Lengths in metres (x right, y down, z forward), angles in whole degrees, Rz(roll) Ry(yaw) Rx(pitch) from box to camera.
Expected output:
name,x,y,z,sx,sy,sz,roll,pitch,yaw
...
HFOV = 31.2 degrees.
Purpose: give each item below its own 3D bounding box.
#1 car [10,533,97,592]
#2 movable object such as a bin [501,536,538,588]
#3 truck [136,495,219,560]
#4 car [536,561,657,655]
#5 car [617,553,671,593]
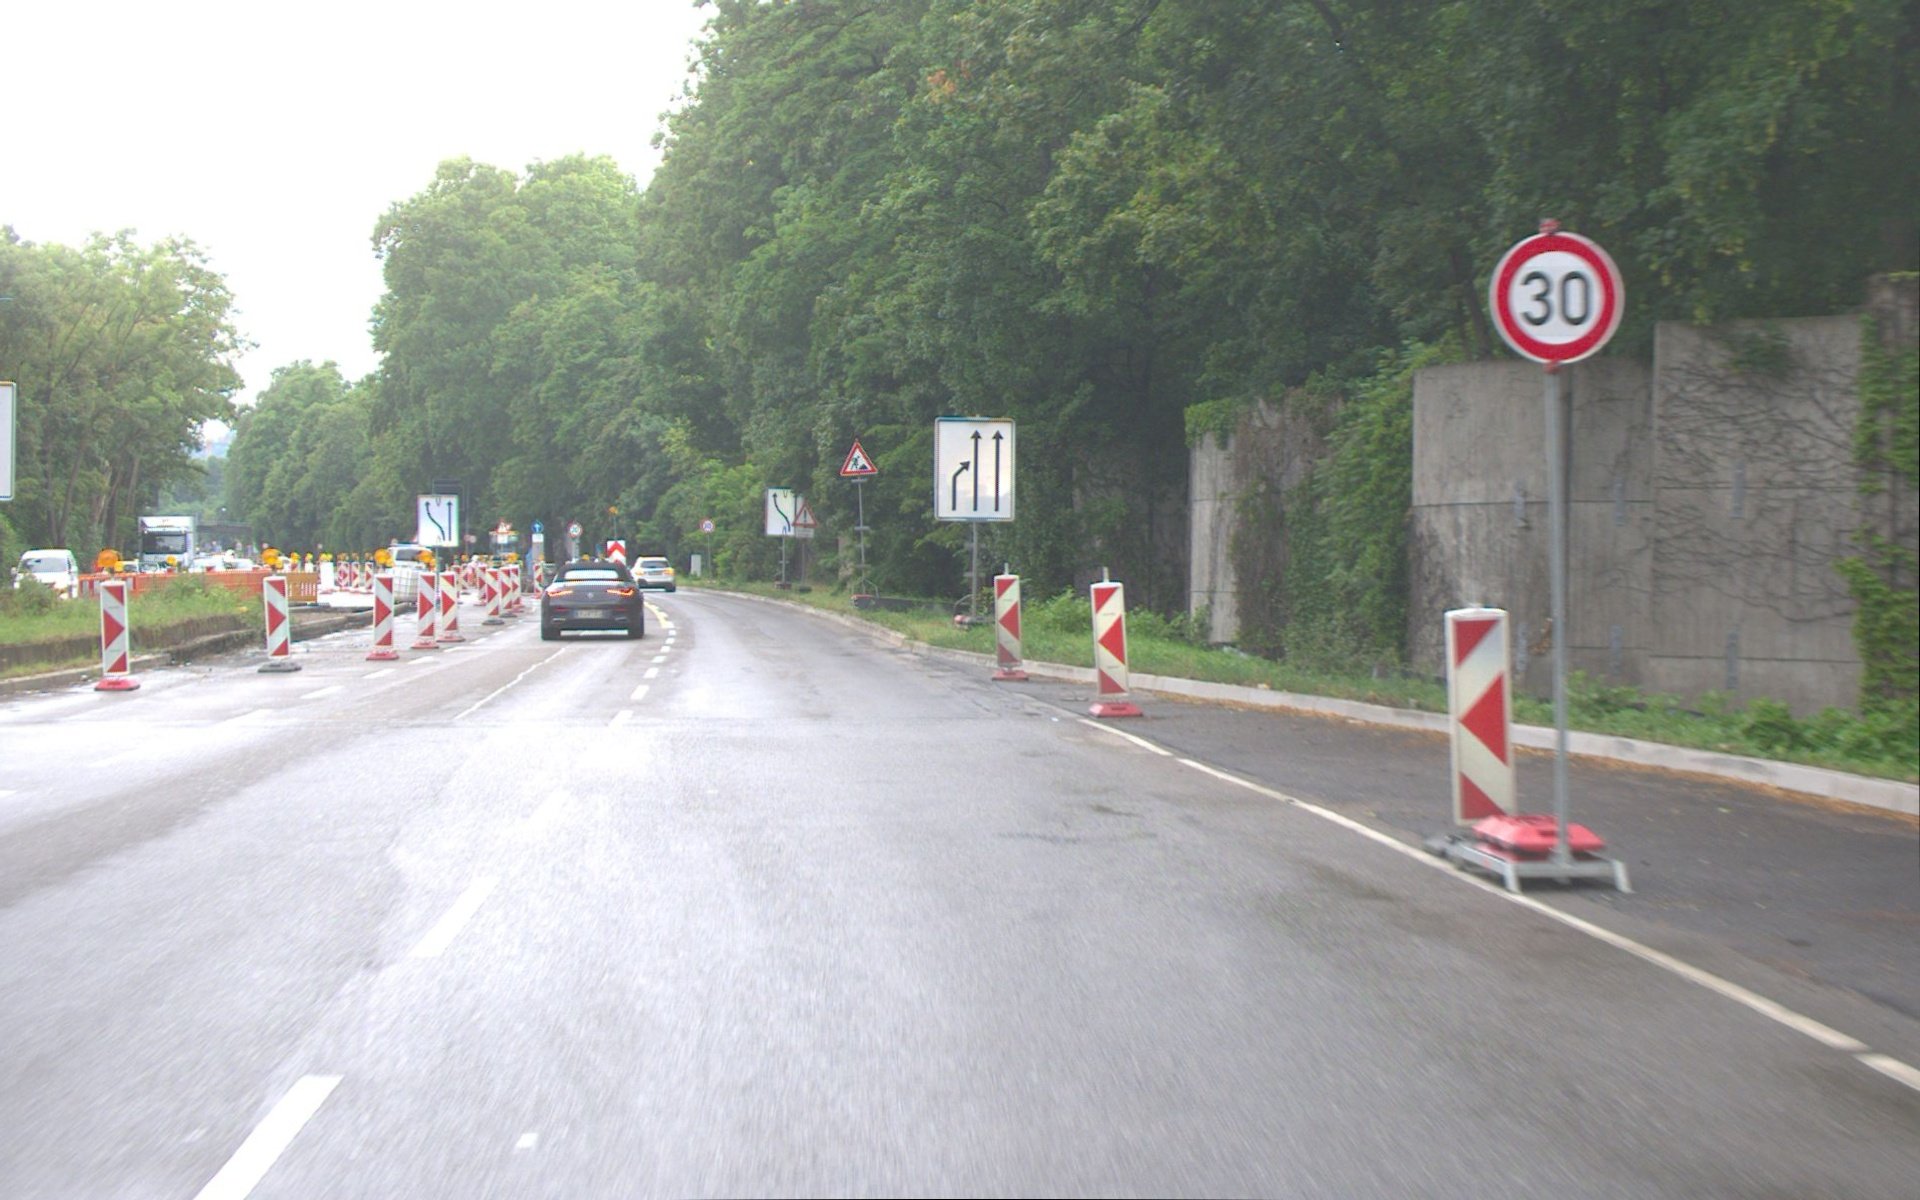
name,x,y,z,sx,sy,sz,roll,pitch,yaw
car,-28.638,-1.198,108.716,1.913,1.775,4.835,0,2,-5
movable object such as a bin,-24.304,-2.104,189.489,1.746,2.857,3.535,-1,1,-11
truck,-38.855,-3.584,170.947,2.795,3.137,10.150,0,1,-6
car,-6.746,0.123,64.176,1.862,1.486,4.001,2,3,-1
car,-13.242,-1.141,143.791,1.913,1.592,4.835,0,2,-9
